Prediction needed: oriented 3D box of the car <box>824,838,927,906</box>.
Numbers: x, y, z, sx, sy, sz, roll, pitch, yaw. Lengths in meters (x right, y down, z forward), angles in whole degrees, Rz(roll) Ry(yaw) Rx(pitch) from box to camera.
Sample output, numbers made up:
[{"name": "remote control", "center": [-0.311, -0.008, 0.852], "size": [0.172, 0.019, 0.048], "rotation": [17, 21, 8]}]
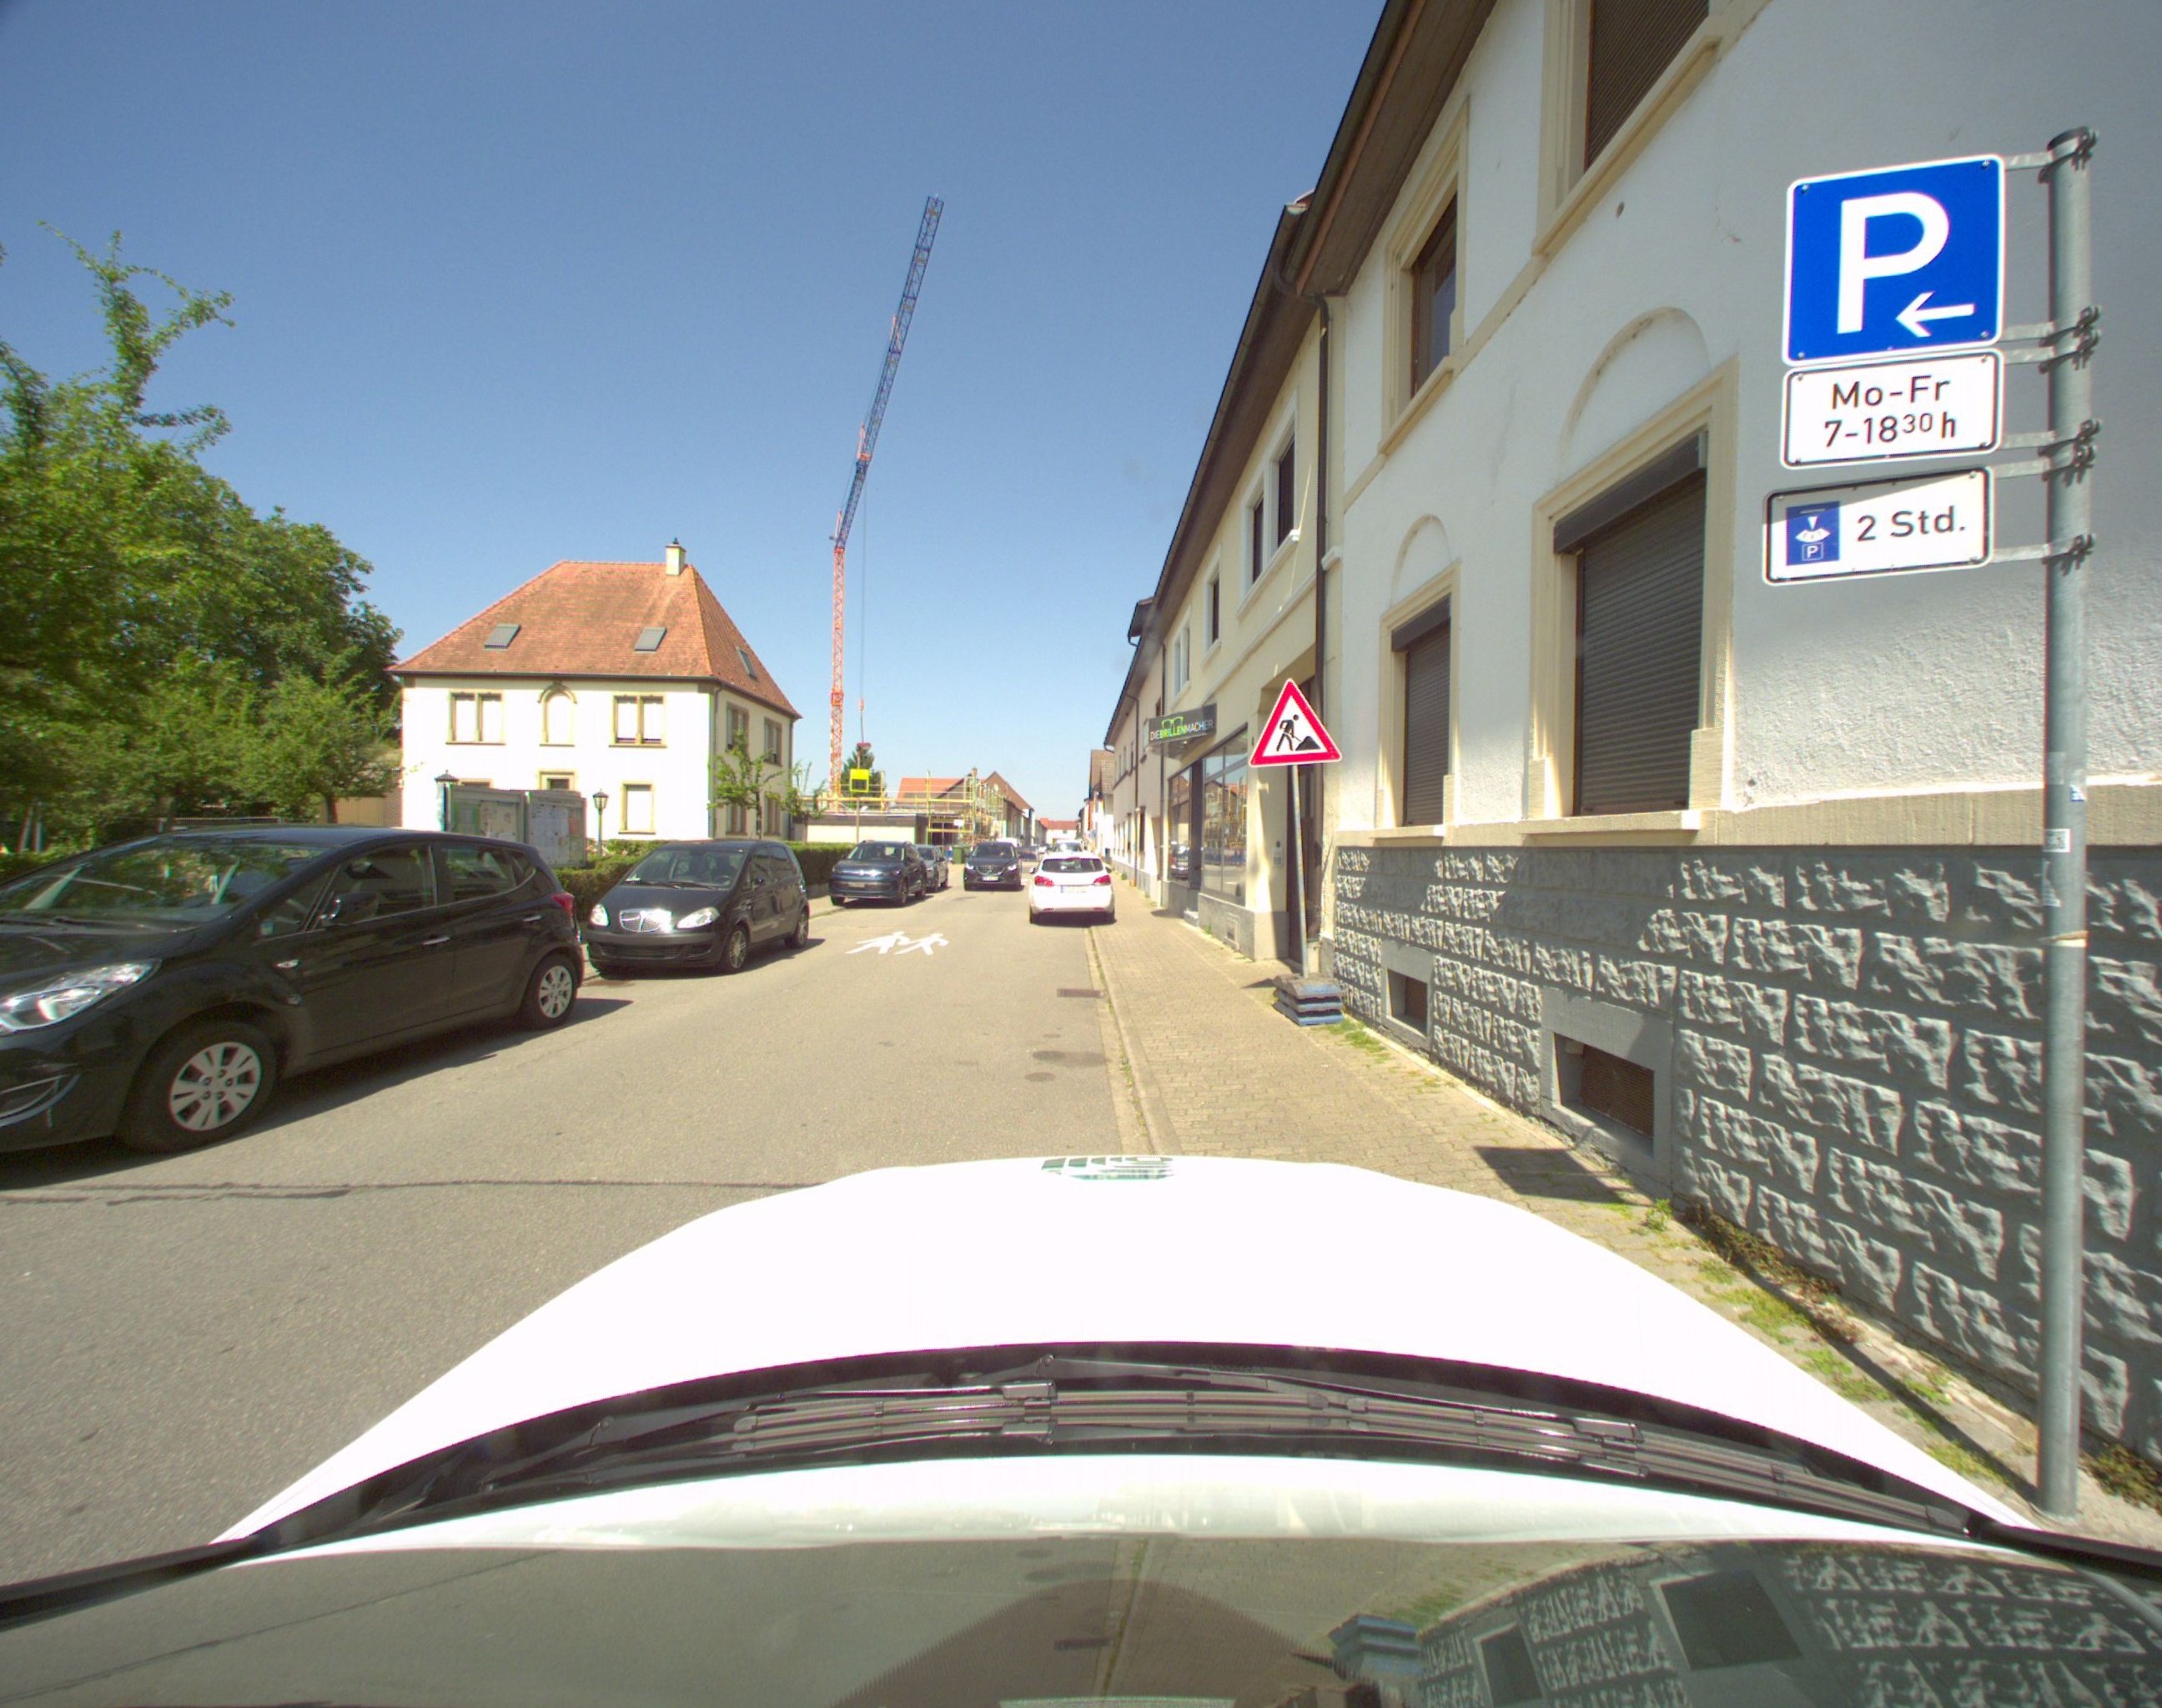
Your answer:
[{"name": "car", "center": [-5.345, 0.413, 21.693], "size": [1.822, 1.630, 4.213], "rotation": [1, 1, -3]}]

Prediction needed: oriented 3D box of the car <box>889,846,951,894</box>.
[{"name": "car", "center": [-5.303, 0.486, 27.122], "size": [1.433, 1.474, 3.783], "rotation": [0, 0, -2]}]

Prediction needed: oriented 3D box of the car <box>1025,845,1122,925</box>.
[{"name": "car", "center": [-0.234, 0.590, 18.070], "size": [1.882, 1.542, 4.239], "rotation": [1, 1, -3]}]

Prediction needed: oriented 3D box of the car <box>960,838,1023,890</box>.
[{"name": "car", "center": [-3.054, 0.311, 28.515], "size": [1.877, 1.668, 4.150], "rotation": [1, 1, -2]}]

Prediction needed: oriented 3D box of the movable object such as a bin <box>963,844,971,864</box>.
[{"name": "movable object such as a bin", "center": [-6.536, -0.013, 46.799], "size": [0.431, 1.155, 0.363], "rotation": [1, 1, -11]}]

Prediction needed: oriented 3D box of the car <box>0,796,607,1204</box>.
[{"name": "car", "center": [-5.133, 0.539, 5.197], "size": [1.809, 1.604, 4.024], "rotation": [1, 1, 0]}]

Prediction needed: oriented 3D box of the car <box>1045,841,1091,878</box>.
[{"name": "car", "center": [-0.651, 0.212, 37.983], "size": [1.881, 1.556, 3.889], "rotation": [-3, 1, -4]}]

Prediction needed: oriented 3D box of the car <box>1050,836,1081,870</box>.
[{"name": "car", "center": [-0.823, -0.088, 43.156], "size": [1.560, 1.612, 3.541], "rotation": [1, 3, -1]}]

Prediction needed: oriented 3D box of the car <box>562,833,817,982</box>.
[{"name": "car", "center": [-4.915, 0.559, 10.838], "size": [1.633, 1.628, 3.766], "rotation": [1, 1, -2]}]

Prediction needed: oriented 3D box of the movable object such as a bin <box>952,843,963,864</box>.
[{"name": "movable object such as a bin", "center": [-7.010, -0.029, 46.310], "size": [0.621, 1.155, 0.675], "rotation": [1, 1, -8]}]
